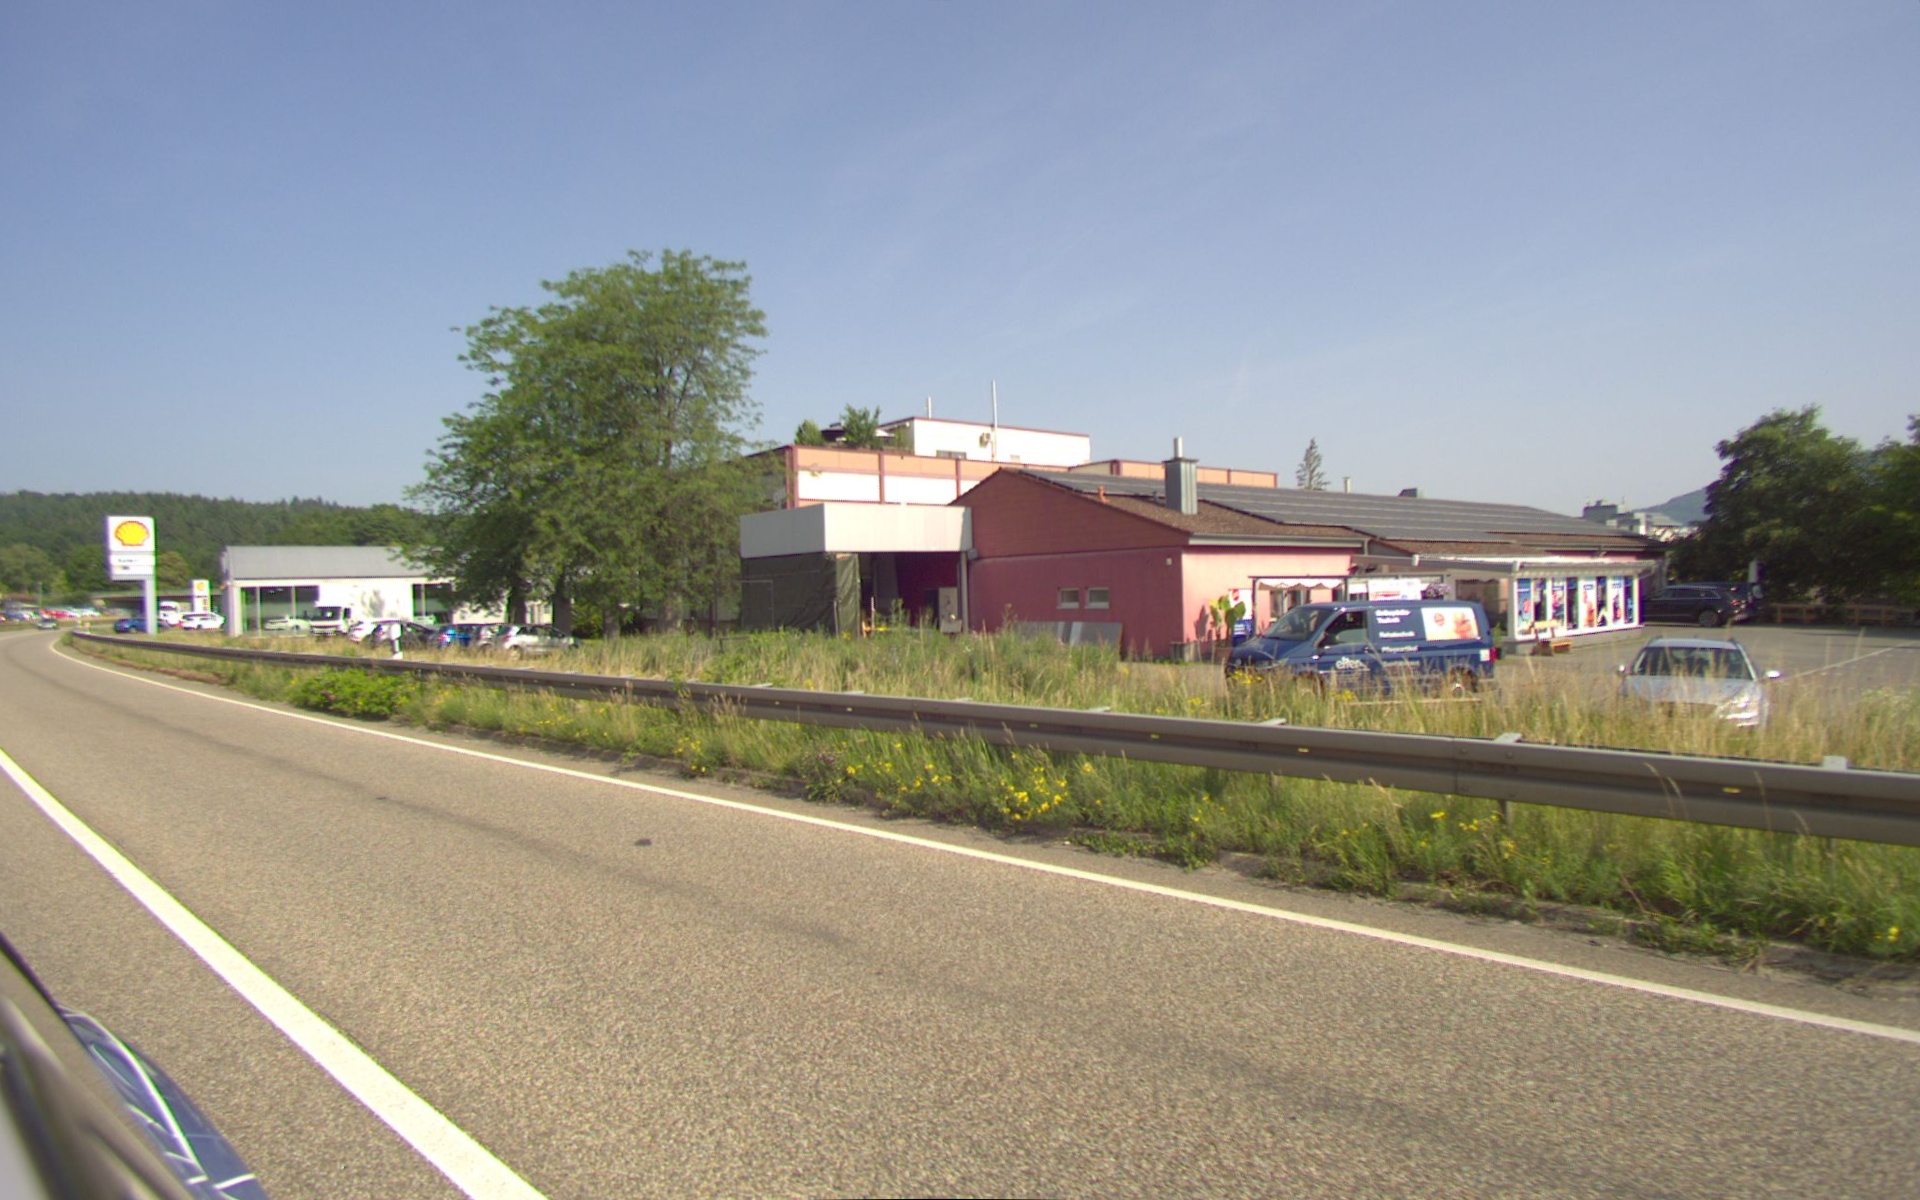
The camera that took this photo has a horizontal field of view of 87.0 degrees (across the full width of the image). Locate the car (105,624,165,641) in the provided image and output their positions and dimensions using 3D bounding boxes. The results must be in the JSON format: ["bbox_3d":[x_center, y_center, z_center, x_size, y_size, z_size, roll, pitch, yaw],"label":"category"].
[{"bbox_3d":[-79.742,3.124,97.869,1.965,1.518,4.216,-1,-1,12],"label":"car"}]

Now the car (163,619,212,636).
[{"bbox_3d":[-93.824,3.341,122.979,4.611,1.871,2.148,-3,0,-38],"label":"car"}]

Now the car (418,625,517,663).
[{"bbox_3d":[-22.855,1.999,47.004,1.933,1.511,3.705,-1,1,45],"label":"car"}]

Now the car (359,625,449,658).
[{"bbox_3d":[-29.127,2.150,53.090,1.932,1.511,3.707,-1,1,43],"label":"car"}]

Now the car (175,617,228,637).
[{"bbox_3d":[-86.236,3.027,115.062,4.731,1.996,2.233,-3,1,-38],"label":"car"}]

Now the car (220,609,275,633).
[{"bbox_3d":[-91.946,2.721,130.686,5.646,2.765,2.291,-3,1,-37],"label":"car"}]

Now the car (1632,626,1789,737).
[{"bbox_3d":[11.882,1.161,16.034,1.740,1.392,4.572,-2,-1,37],"label":"car"}]

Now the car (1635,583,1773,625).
[{"bbox_3d":[32.902,0.210,44.858,1.716,1.770,4.638,0,-1,-40],"label":"car"}]

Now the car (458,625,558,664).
[{"bbox_3d":[-20.250,1.957,45.384,3.699,1.511,1.861,-2,1,-38],"label":"car"}]

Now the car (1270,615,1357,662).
[{"bbox_3d":[9.315,1.003,26.729,2.017,1.154,0.805,0,0,45],"label":"car"}]

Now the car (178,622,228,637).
[{"bbox_3d":[-82.899,3.249,110.852,1.878,1.413,4.215,-1,1,12],"label":"car"}]

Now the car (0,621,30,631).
[{"bbox_3d":[-139.485,3.833,148.623,3.983,1.519,1.812,0,-1,-29],"label":"car"}]

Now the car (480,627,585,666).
[{"bbox_3d":[-18.080,1.943,42.901,1.862,1.471,3.705,-1,0,45],"label":"car"}]

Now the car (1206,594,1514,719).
[{"bbox_3d":[7.190,0.958,18.404,4.825,2.029,2.004,-1,-1,-10],"label":"car"}]

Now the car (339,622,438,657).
[{"bbox_3d":[-31.082,2.091,55.095,1.932,1.667,4.303,-1,1,43],"label":"car"}]

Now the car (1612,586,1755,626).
[{"bbox_3d":[30.615,0.282,42.933,1.716,1.620,4.638,0,-1,-40],"label":"car"}]

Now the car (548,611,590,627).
[{"bbox_3d":[-31.566,1.551,81.677,1.702,1.209,4.003,-1,0,-44],"label":"car"}]

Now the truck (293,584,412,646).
[{"bbox_3d":[-38.414,0.891,64.399,2.766,3.583,8.214,-2,0,-1],"label":"truck"}]
